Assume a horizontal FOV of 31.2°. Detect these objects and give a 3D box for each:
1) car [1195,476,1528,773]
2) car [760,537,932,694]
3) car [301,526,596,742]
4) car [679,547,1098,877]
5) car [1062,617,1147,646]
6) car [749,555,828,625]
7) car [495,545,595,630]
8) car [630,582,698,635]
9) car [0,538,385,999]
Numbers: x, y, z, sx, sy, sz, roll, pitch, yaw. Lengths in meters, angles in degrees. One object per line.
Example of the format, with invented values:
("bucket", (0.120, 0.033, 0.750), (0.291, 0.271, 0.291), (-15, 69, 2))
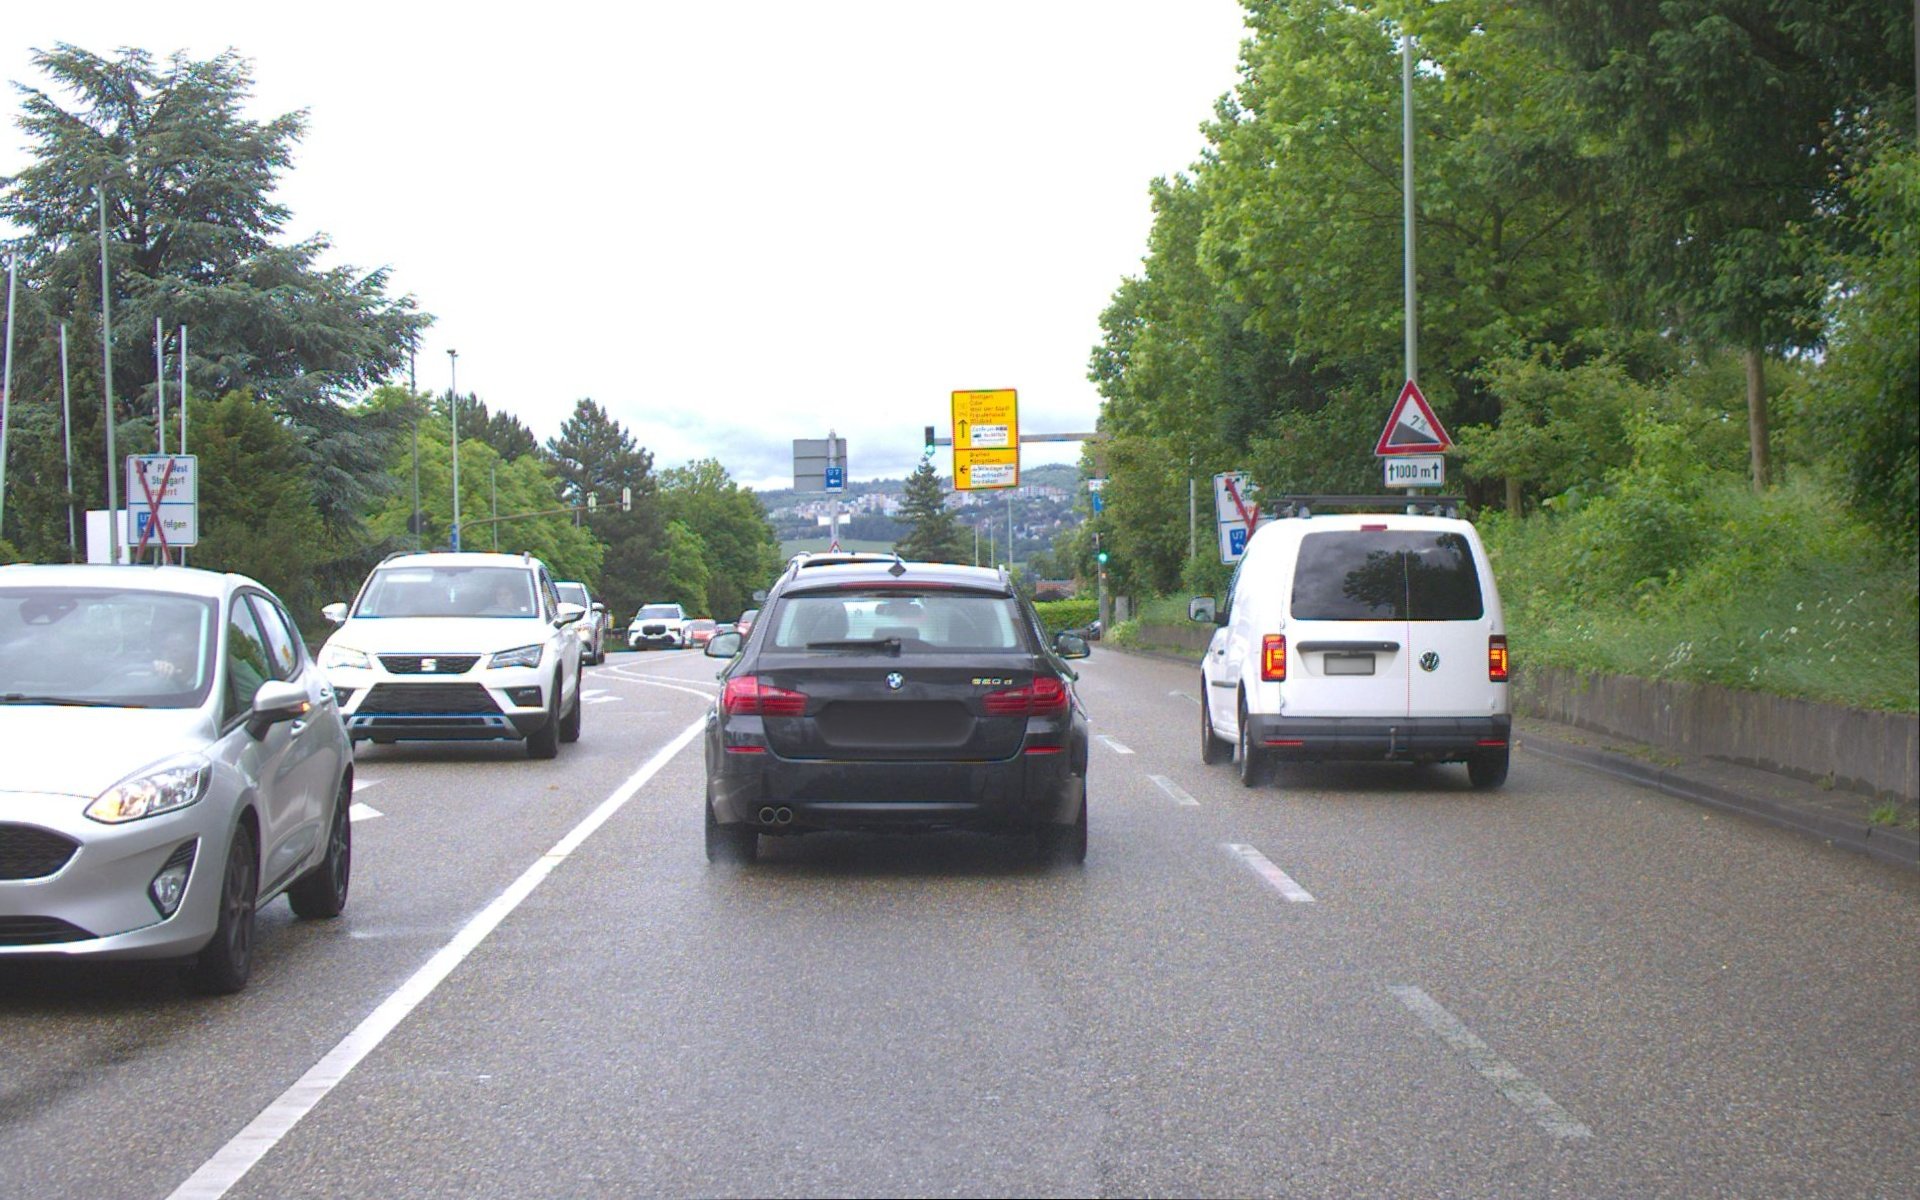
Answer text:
("car", (2.667, 0.087, 23.609), (1.764, 1.871, 3.806), (0, 2, -1))
("car", (-1.282, 0.137, 40.016), (1.868, 1.668, 4.001), (0, 2, 0))
("car", (-4.009, 0.241, 27.564), (1.787, 1.575, 4.239), (-1, 0, -1))
("car", (-0.326, 0.477, 17.583), (1.899, 1.436, 4.000), (0, 2, 0))
("car", (6.844, 1.489, 162.425), (3.987, 1.372, 1.585), (0, 0, 4))
("car", (-4.451, -0.281, 89.759), (1.868, 1.668, 4.001), (0, 2, 0))
("car", (-7.698, -0.228, 63.952), (1.749, 1.503, 4.303), (-1, 0, -6))
("car", (-10.667, 0.302, 124.279), (1.917, 1.757, 5.143), (-3, 0, 0))
("car", (-3.224, 0.492, 12.726), (1.601, 1.436, 3.949), (0, 1, -1))
